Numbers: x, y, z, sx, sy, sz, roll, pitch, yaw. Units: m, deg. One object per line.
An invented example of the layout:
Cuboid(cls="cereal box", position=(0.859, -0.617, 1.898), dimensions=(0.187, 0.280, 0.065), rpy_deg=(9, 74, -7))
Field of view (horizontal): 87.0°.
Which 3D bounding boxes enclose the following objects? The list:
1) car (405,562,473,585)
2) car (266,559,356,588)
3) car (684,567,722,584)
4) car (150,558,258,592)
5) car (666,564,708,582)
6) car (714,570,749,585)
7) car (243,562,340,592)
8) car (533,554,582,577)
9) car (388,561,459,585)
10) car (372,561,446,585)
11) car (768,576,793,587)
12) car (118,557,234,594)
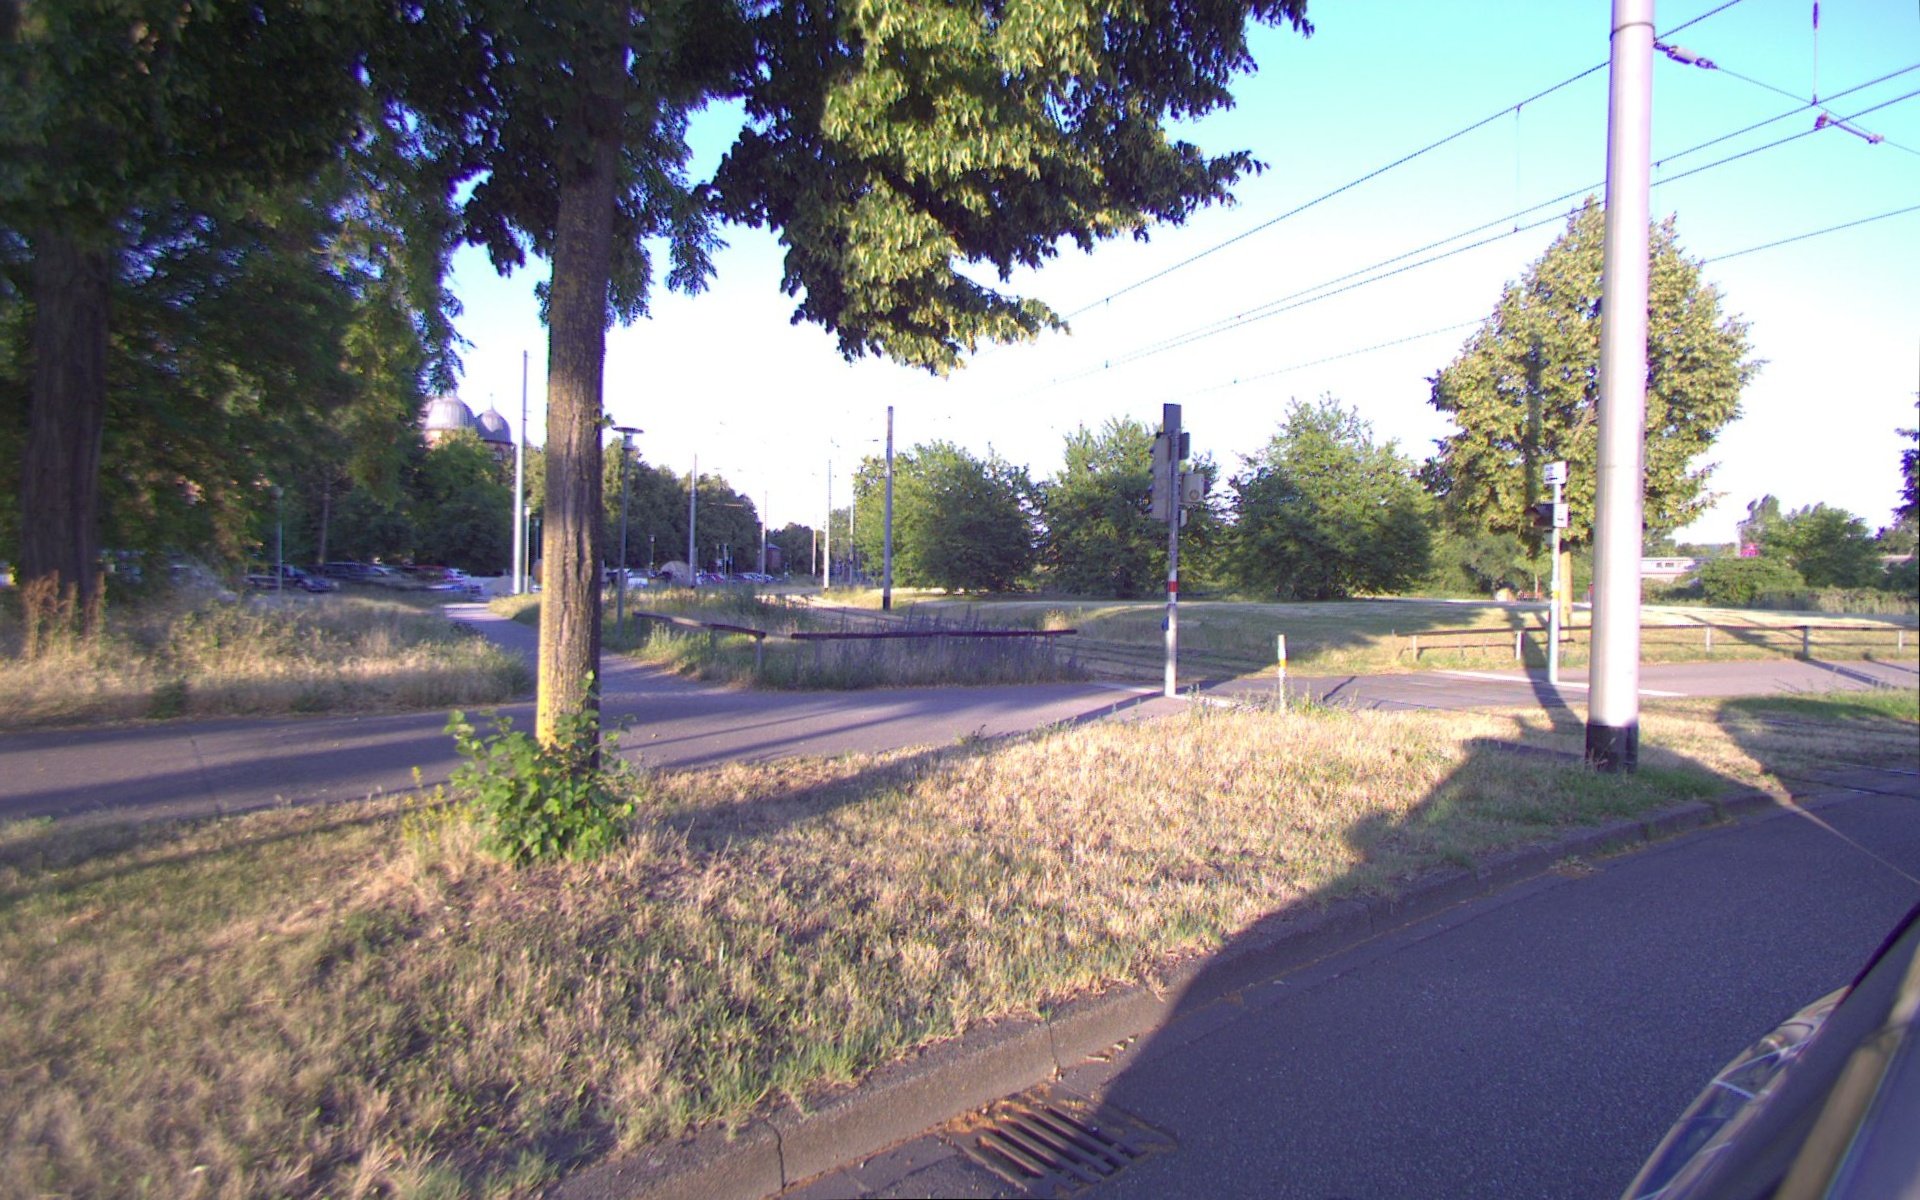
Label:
Cuboid(cls="car", position=(-37.308, -1.869, 72.532), dimensions=(3.920, 1.573, 1.905), rpy_deg=(1, 1, -4))
Cuboid(cls="car", position=(-36.814, -1.498, 57.490), dimensions=(3.920, 1.573, 1.905), rpy_deg=(1, 1, -4))
Cuboid(cls="car", position=(-26.248, -2.497, 103.346), dimensions=(3.538, 1.500, 1.713), rpy_deg=(2, 0, -7))
Cuboid(cls="car", position=(-37.480, -1.240, 50.248), dimensions=(3.920, 1.573, 1.905), rpy_deg=(1, 1, -4))
Cuboid(cls="car", position=(-25.223, -2.467, 93.541), dimensions=(3.538, 1.500, 1.713), rpy_deg=(2, 0, -7))
Cuboid(cls="car", position=(-25.059, -2.459, 111.016), dimensions=(3.538, 1.500, 1.713), rpy_deg=(2, 0, -7))
Cuboid(cls="car", position=(-36.422, -1.258, 55.201), dimensions=(4.017, 1.573, 1.905), rpy_deg=(1, 1, -4))
Cuboid(cls="car", position=(-38.650, -3.276, 97.238), dimensions=(3.920, 2.121, 1.905), rpy_deg=(1, 1, -4))
Cuboid(cls="car", position=(-37.090, -1.873, 70.071), dimensions=(3.920, 1.573, 1.905), rpy_deg=(1, 1, -4))
Cuboid(cls="car", position=(-36.879, -1.798, 67.767), dimensions=(3.920, 1.573, 1.905), rpy_deg=(1, 1, -4))
Cuboid(cls="car", position=(-26.449, -2.691, 149.258), dimensions=(3.538, 1.500, 1.713), rpy_deg=(2, 0, -7))
Cuboid(cls="car", position=(-37.114, -1.149, 47.972), dimensions=(3.920, 1.682, 1.955), rpy_deg=(1, 1, -4))
